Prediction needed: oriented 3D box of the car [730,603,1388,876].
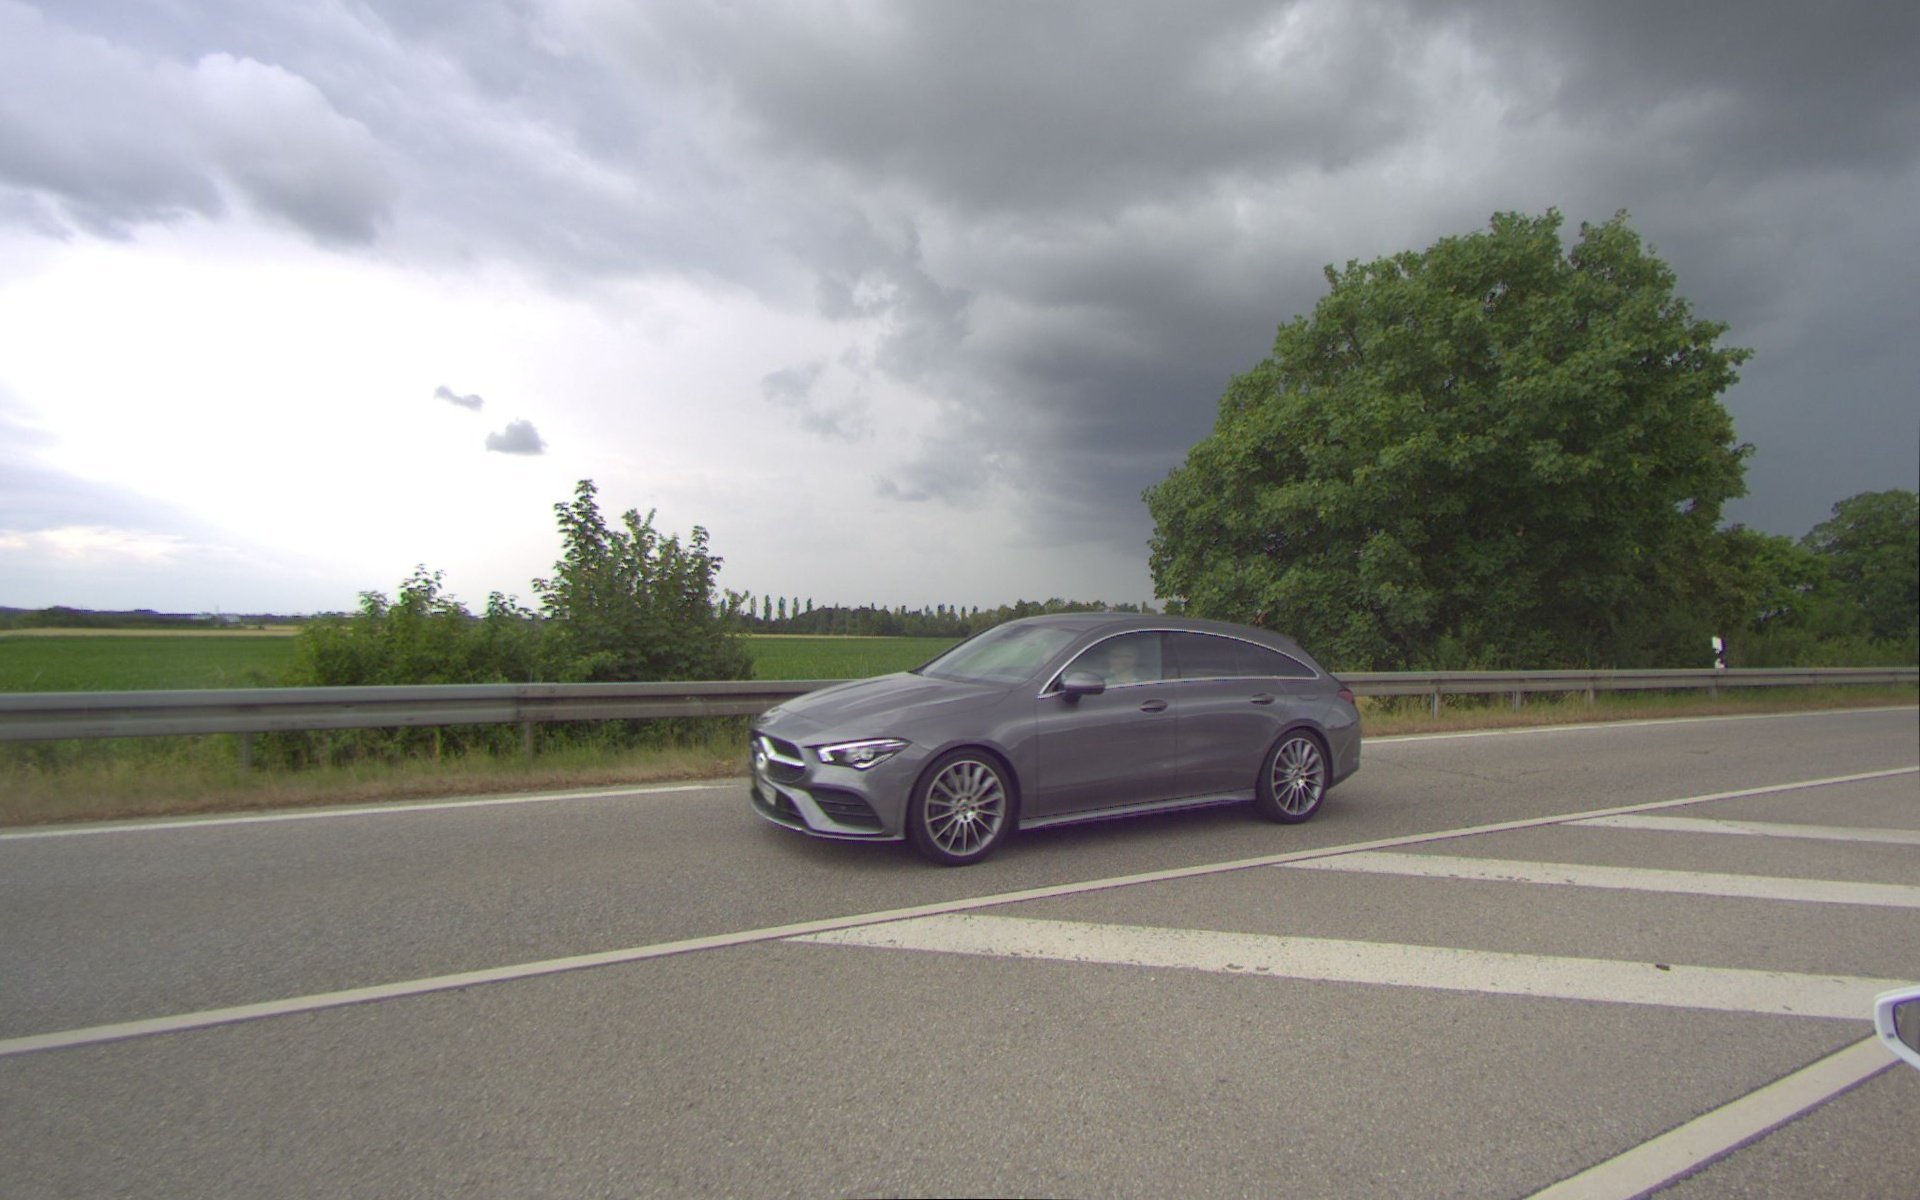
[{"bbox_3d":[0.830,0.774,6.980,4.459,1.398,1.615,2,-1,-30],"label":"car"}]
